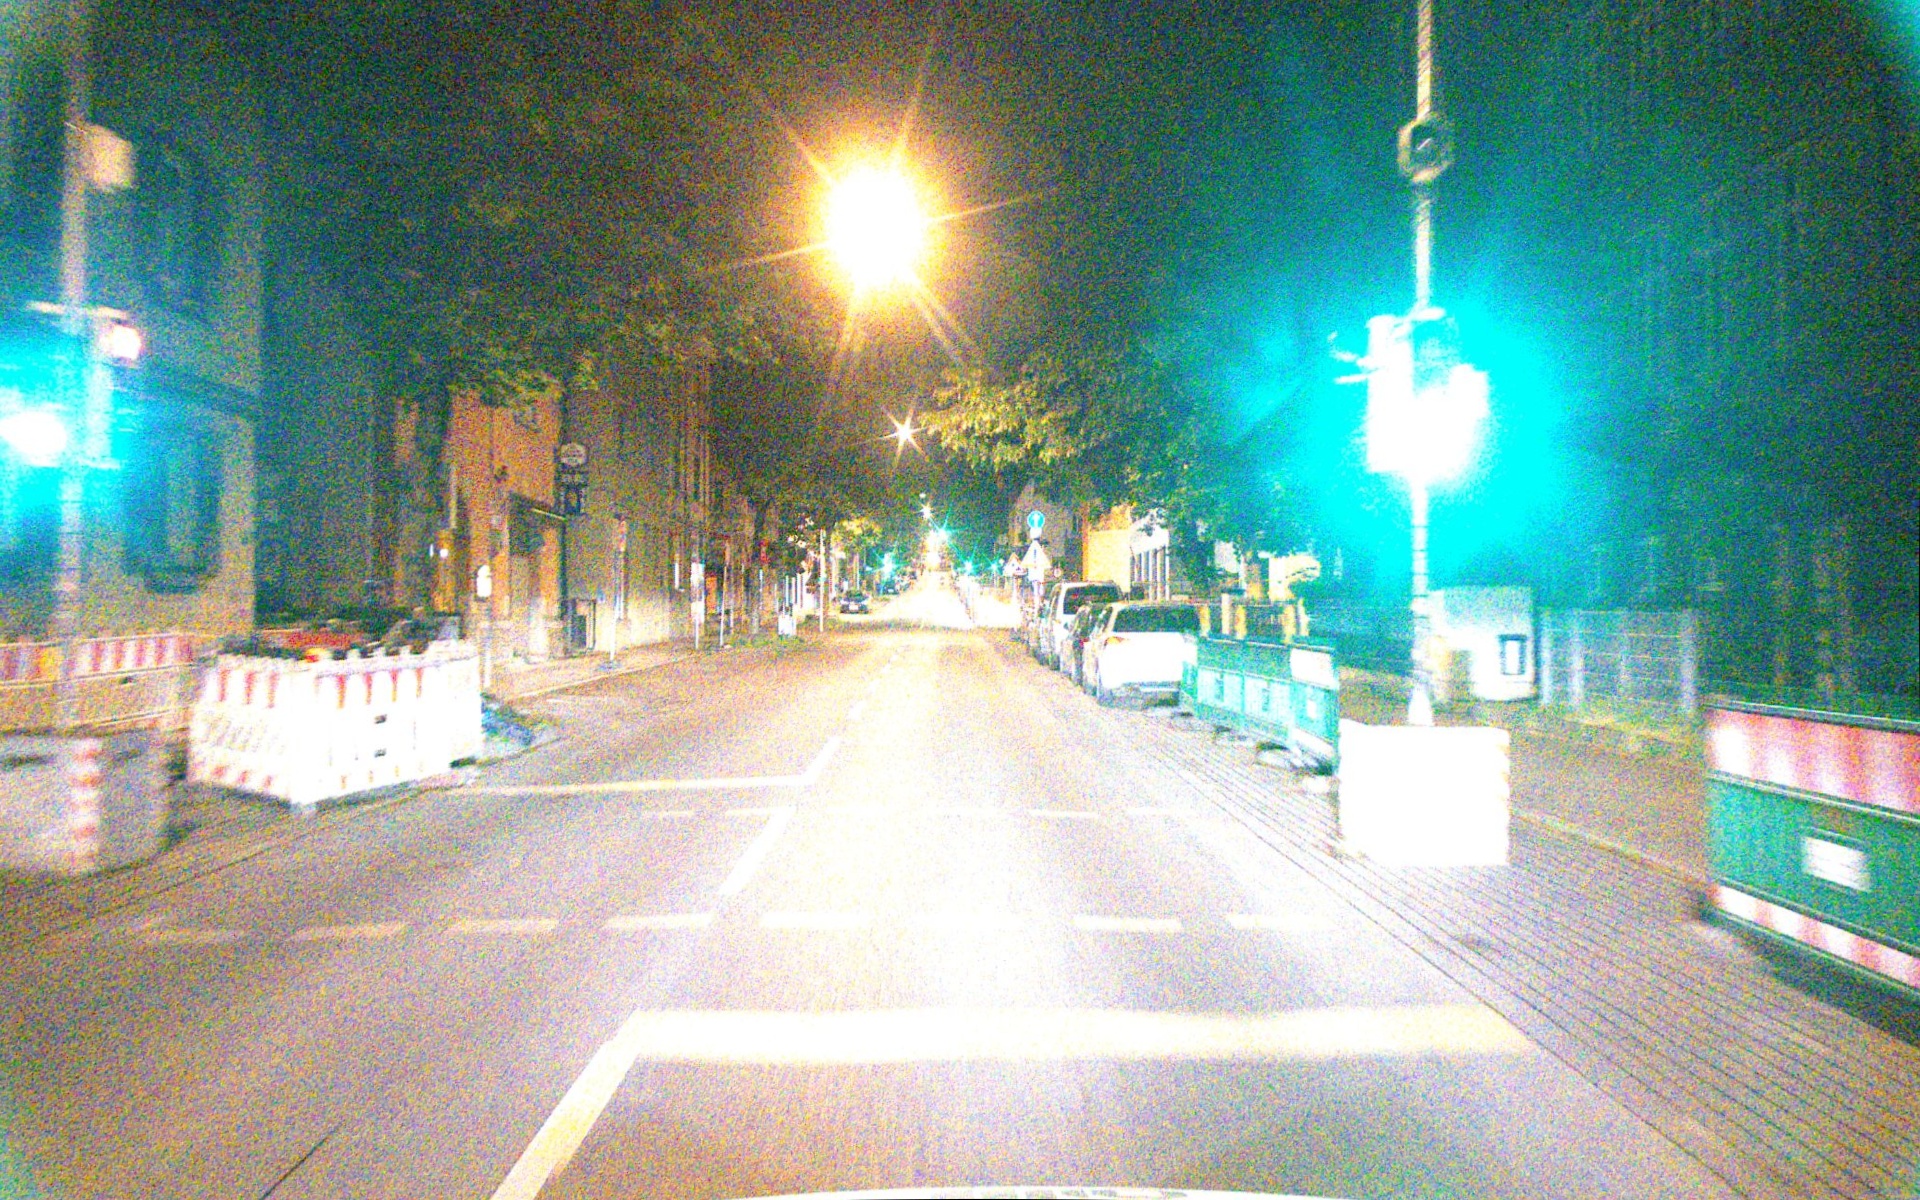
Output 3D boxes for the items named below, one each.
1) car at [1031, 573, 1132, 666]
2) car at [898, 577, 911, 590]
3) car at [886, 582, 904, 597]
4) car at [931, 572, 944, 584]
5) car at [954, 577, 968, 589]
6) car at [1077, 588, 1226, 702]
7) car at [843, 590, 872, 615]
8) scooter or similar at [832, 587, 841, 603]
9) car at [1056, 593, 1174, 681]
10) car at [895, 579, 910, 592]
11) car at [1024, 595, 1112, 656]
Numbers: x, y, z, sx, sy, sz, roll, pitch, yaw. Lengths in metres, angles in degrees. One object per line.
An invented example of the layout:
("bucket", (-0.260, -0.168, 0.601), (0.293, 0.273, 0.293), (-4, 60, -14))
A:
("car", (2.587, 0.387, 36.155), (1.700, 1.887, 4.314), (-1, 0, -2))
("car", (-7.978, -2.428, 236.820), (1.835, 1.846, 4.204), (0, 1, -1))
("car", (-6.843, -1.153, 175.179), (1.835, 1.571, 4.204), (0, 1, -1))
("car", (-3.445, -3.302, 251.727), (1.835, 1.846, 4.205), (0, 1, 0))
("car", (0.156, -2.324, 225.682), (1.835, 1.571, 4.204), (0, 1, -1))
("car", (2.806, 0.618, 24.988), (1.704, 1.503, 4.000), (-3, 0, 0))
("car", (-6.358, 0.149, 102.884), (1.637, 1.469, 4.204), (0, 1, -1))
("scooter or similar", (-9.612, -0.365, 128.949), (0.517, 1.185, 2.506), (-2, -1, -1))
("car", (2.745, 0.614, 30.152), (1.651, 1.445, 4.442), (-1, 0, -1))
("car", (-7.383, -1.871, 212.892), (1.835, 1.571, 4.204), (0, 1, -1))
("car", (2.627, 0.594, 41.148), (1.693, 1.444, 4.321), (0, 0, -3))
